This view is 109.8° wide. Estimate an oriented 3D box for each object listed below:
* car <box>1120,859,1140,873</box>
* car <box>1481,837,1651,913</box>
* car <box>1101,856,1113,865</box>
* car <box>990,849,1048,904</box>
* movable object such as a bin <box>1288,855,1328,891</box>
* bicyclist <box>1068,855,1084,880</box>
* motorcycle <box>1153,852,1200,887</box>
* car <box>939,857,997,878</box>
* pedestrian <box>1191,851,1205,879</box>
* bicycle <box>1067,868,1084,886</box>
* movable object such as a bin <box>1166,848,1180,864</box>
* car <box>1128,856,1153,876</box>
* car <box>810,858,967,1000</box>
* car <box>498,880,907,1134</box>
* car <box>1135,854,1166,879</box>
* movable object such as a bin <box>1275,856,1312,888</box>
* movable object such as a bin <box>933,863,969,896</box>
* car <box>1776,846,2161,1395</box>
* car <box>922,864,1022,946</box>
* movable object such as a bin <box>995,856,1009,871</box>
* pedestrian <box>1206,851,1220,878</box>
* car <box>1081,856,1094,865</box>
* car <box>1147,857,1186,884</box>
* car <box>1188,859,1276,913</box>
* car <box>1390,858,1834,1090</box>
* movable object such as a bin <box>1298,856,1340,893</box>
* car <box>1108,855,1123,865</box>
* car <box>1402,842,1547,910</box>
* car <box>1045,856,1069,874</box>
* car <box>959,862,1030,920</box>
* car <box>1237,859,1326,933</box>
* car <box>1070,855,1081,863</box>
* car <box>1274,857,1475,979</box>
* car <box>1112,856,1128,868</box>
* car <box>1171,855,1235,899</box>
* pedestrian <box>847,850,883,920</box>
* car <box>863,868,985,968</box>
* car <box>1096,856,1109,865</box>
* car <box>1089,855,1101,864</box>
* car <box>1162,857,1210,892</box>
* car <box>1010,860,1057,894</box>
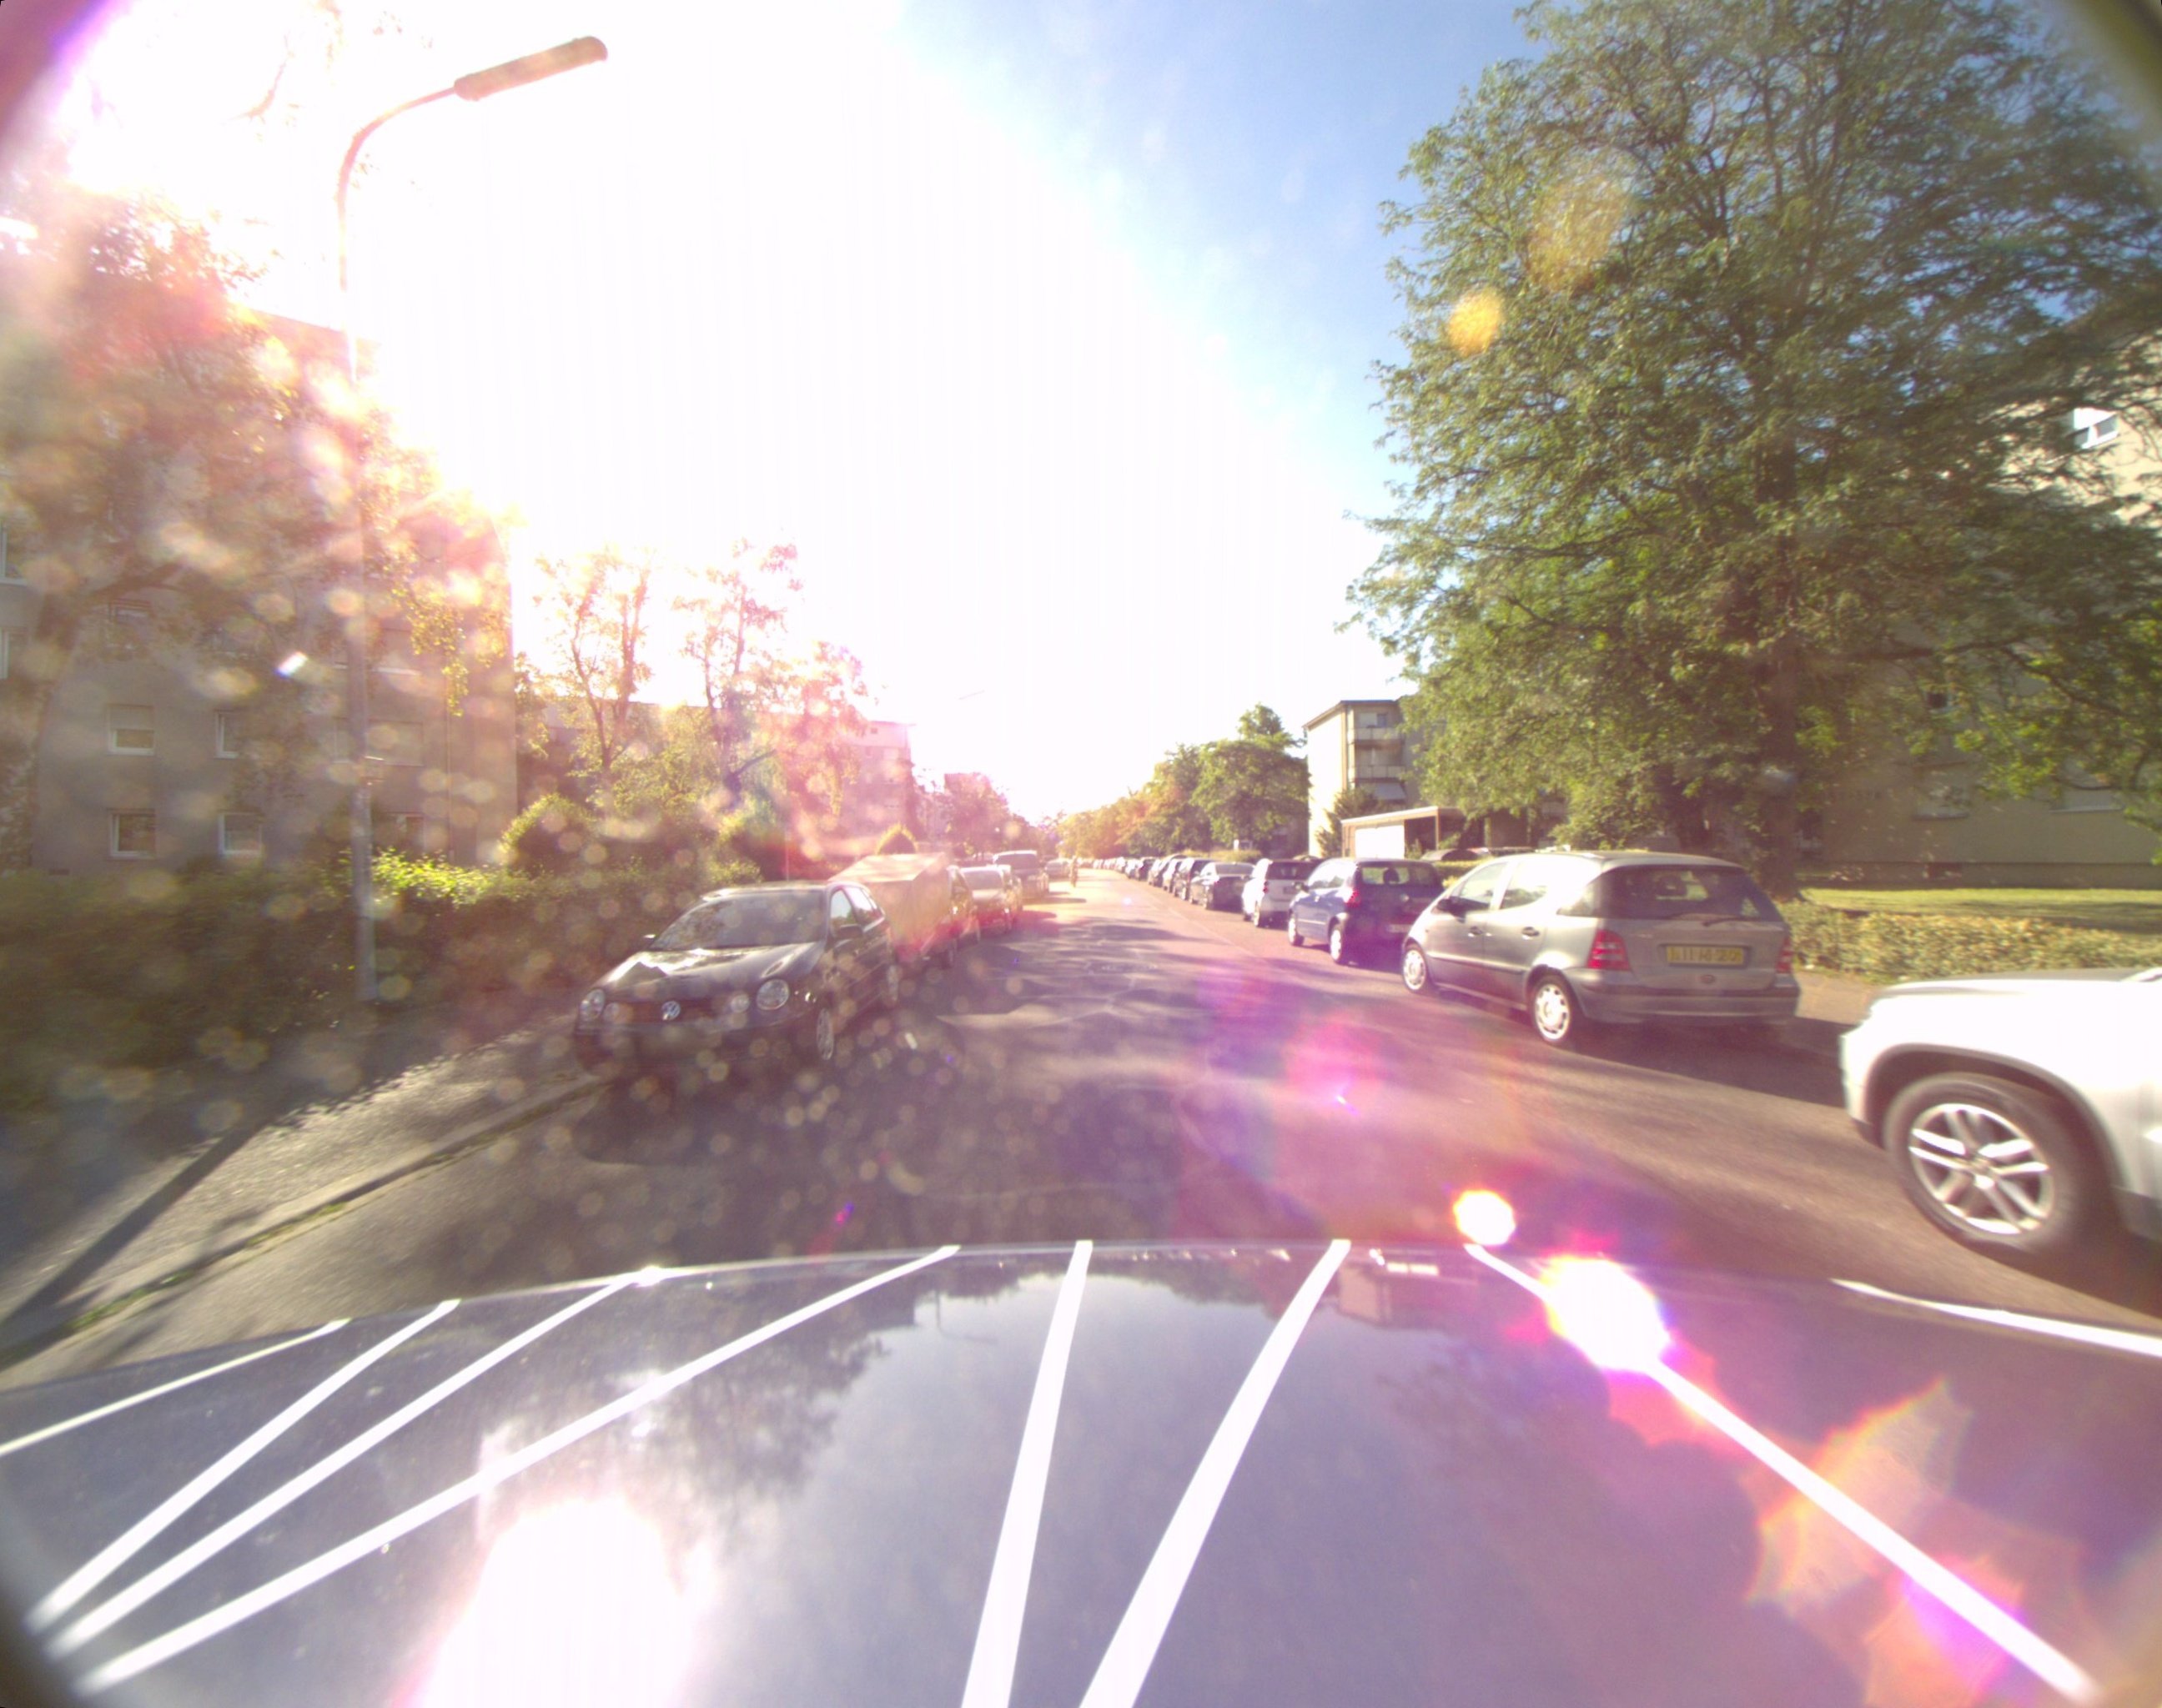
[{"bbox_3d":[5.163,1.224,80.457,1.759,1.377,4.673,0,1,0],"label":"car"},{"bbox_3d":[11.864,0.468,18.929,1.574,1.631,3.999,-2,0,-1],"label":"car"},{"bbox_3d":[4.138,1.021,122.569,1.658,1.470,3.104,0,0,-4],"label":"car"},{"bbox_3d":[-2.359,0.828,30.184,1.857,1.923,4.704,-3,0,0],"label":"car"},{"bbox_3d":[9.118,0.742,30.577,1.180,1.400,1.343,-2,0,1],"label":"movable object such as a bin"},{"bbox_3d":[-0.286,0.741,41.763,0.812,1.348,1.091,-2,0,1],"label":"bicyclist"},{"bbox_3d":[4.902,0.806,39.056,2.262,1.717,0.932,1,1,-2],"label":"motorcycle"},{"bbox_3d":[-8.638,1.041,58.396,4.194,1.486,1.817,-2,0,-2],"label":"car"},{"bbox_3d":[7.173,0.658,46.739,0.722,1.669,0.616,-2,1,1],"label":"pedestrian"},{"bbox_3d":[-0.276,1.236,41.808,0.824,0.896,2.203,-2,0,2],"label":"bicycle"},{"bbox_3d":[8.680,0.185,71.654,1.004,1.407,1.326,-4,0,-1],"label":"movable object such as a bin"},{"bbox_3d":[4.629,0.883,59.152,1.758,1.416,4.210,1,1,2],"label":"car"},{"bbox_3d":[-2.619,0.957,10.868,1.492,1.708,2.583,-3,0,0],"label":"car"},{"bbox_3d":[-2.837,1.033,6.770,1.736,1.395,3.894,-3,0,-2],"label":"car"},{"bbox_3d":[4.783,0.800,52.568,1.758,1.626,4.370,1,0,0],"label":"car"},{"bbox_3d":[8.931,0.739,31.993,1.180,1.280,1.343,-2,0,1],"label":"movable object such as a bin"},{"bbox_3d":[-5.490,1.061,32.184,1.028,1.302,1.388,2,1,11],"label":"movable object such as a bin"},{"bbox_3d":[4.156,0.790,1.336,1.908,1.630,4.349,0,0,0],"label":"car"},{"bbox_3d":[-2.354,1.051,17.481,1.736,1.481,4.500,-3,0,-2],"label":"car"},{"bbox_3d":[-8.108,0.965,77.992,1.328,1.423,1.029,-2,0,-5],"label":"movable object such as a bin"},{"bbox_3d":[8.082,0.645,46.704,0.722,1.669,0.600,-2,1,1],"label":"pedestrian"},{"bbox_3d":[1.034,1.017,121.999,1.915,1.468,4.570,-1,0,0],"label":"car"},{"bbox_3d":[4.728,0.898,42.533,1.758,1.412,4.269,1,0,0],"label":"car"},{"bbox_3d":[4.579,0.915,23.660,1.759,1.472,4.537,1,0,-1],"label":"car"},{"bbox_3d":[4.424,0.848,7.071,1.640,1.597,3.534,0,0,0],"label":"car"},{"bbox_3d":[9.136,0.773,29.206,1.180,1.332,1.343,-2,0,2],"label":"movable object such as a bin"},{"bbox_3d":[4.945,0.899,110.229,1.811,1.470,3.939,0,0,-2],"label":"car"},{"bbox_3d":[9.987,0.504,19.665,1.574,1.516,3.999,-2,0,-1],"label":"car"},{"bbox_3d":[-2.035,0.940,66.304,1.809,1.486,3.795,-2,0,2],"label":"car"},{"bbox_3d":[-2.524,1.050,22.935,1.627,1.481,4.036,-3,0,0],"label":"car"},{"bbox_3d":[4.683,0.920,18.105,1.447,1.565,3.143,1,0,4],"label":"car"},{"bbox_3d":[-1.176,1.072,158.466,1.659,1.558,3.687,0,0,-11],"label":"car"},{"bbox_3d":[4.458,0.879,12.245,1.758,1.597,3.969,1,0,1],"label":"car"},{"bbox_3d":[5.320,1.012,103.393,1.811,1.596,4.431,0,0,-2],"label":"car"},{"bbox_3d":[4.597,0.837,29.163,1.759,1.565,3.719,1,0,-1],"label":"car"},{"bbox_3d":[-5.881,0.826,20.724,0.705,1.877,0.872,1,1,1],"label":"pedestrian"},{"bbox_3d":[-2.704,1.058,13.605,1.418,1.514,2.558,-3,0,4],"label":"car"},{"bbox_3d":[3.543,1.032,127.593,1.658,1.470,3.733,0,0,-7],"label":"car"},{"bbox_3d":[2.497,0.959,134.824,1.658,1.621,4.070,0,0,-6],"label":"car"},{"bbox_3d":[4.769,0.906,34.964,1.758,1.472,3.960,1,0,2],"label":"car"},{"bbox_3d":[-2.248,1.075,37.220,1.805,1.410,4.636,-2,0,2],"label":"car"}]
